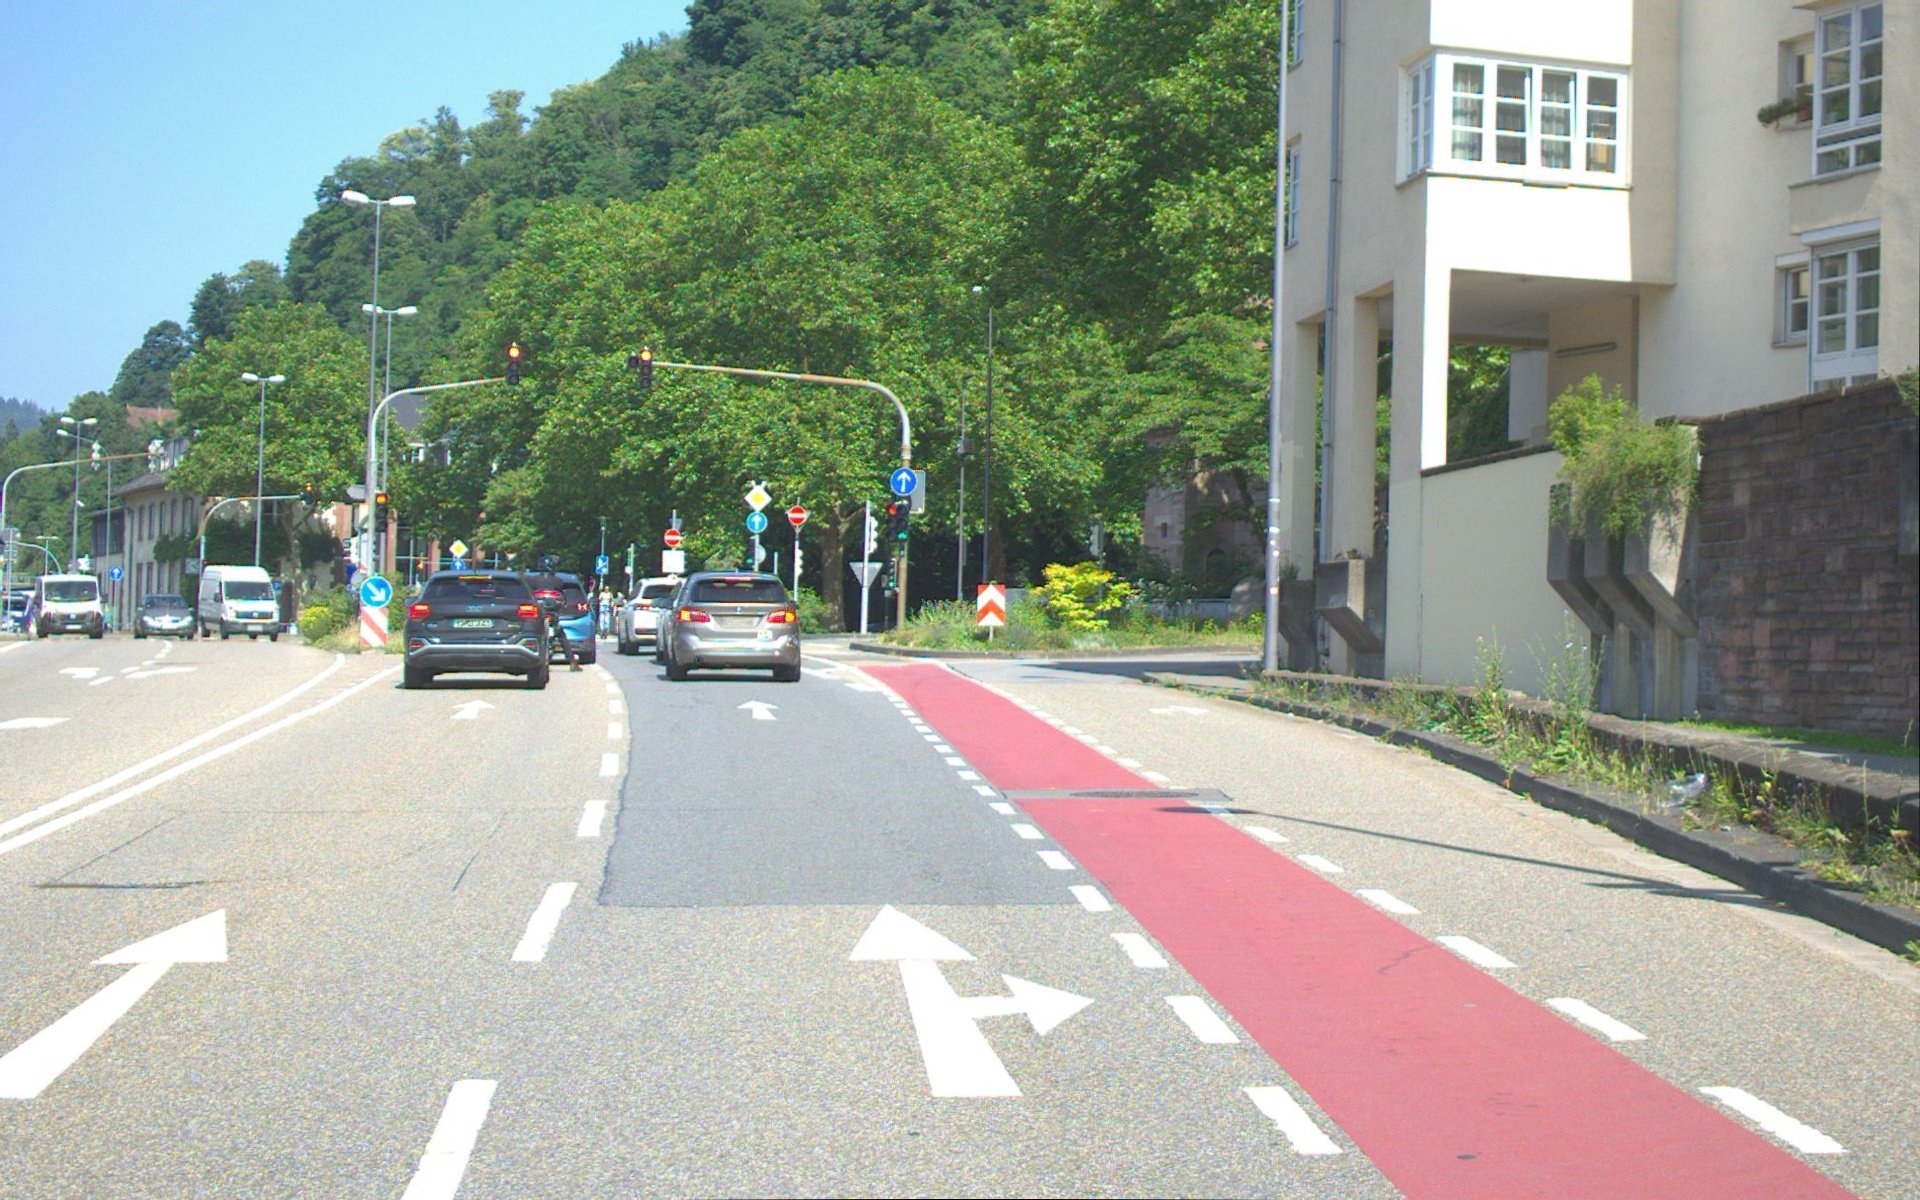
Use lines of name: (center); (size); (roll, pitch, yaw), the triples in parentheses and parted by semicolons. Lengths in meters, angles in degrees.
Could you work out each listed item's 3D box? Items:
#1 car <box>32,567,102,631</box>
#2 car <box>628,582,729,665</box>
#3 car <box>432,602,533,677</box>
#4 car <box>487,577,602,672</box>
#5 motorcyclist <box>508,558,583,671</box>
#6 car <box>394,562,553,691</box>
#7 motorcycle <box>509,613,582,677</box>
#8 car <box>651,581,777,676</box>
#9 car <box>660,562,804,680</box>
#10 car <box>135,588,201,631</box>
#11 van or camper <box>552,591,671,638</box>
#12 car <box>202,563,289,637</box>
car: (-30.630, -0.052, 117.875); (2.213, 2.071, 5.045); (1, 1, -15)
car: (-5.493, 0.453, 66.675); (1.785, 1.527, 4.737); (1, 0, -6)
car: (-9.203, 0.742, 66.369); (1.866, 1.354, 4.001); (1, 0, -8)
car: (-7.132, 0.399, 58.865); (1.866, 1.557, 4.001); (1, 0, -8)
motorcyclist: (-6.295, 0.219, 52.286); (1.075, 1.678, 1.156); (1, 0, -6)
car: (-6.276, 0.339, 44.486); (1.868, 1.508, 4.151); (3, -1, -8)
motorcycle: (-6.277, 0.675, 52.175); (1.037, 0.916, 2.605); (1, 0, -6)
car: (-4.302, 0.480, 59.605); (1.993, 1.528, 4.859); (2, 0, -6)
car: (-3.285, 0.305, 48.934); (1.888, 1.516, 4.306); (3, -1, -5)
car: (-27.541, 0.316, 119.496); (1.993, 1.427, 4.168); (1, 0, -16)
van or camper: (-14.471, 0.608, 142.788); (4.544, 1.895, 1.999); (1, 0, 11)
car: (-25.737, -0.025, 123.659); (2.383, 2.568, 6.057); (1, 1, -18)
